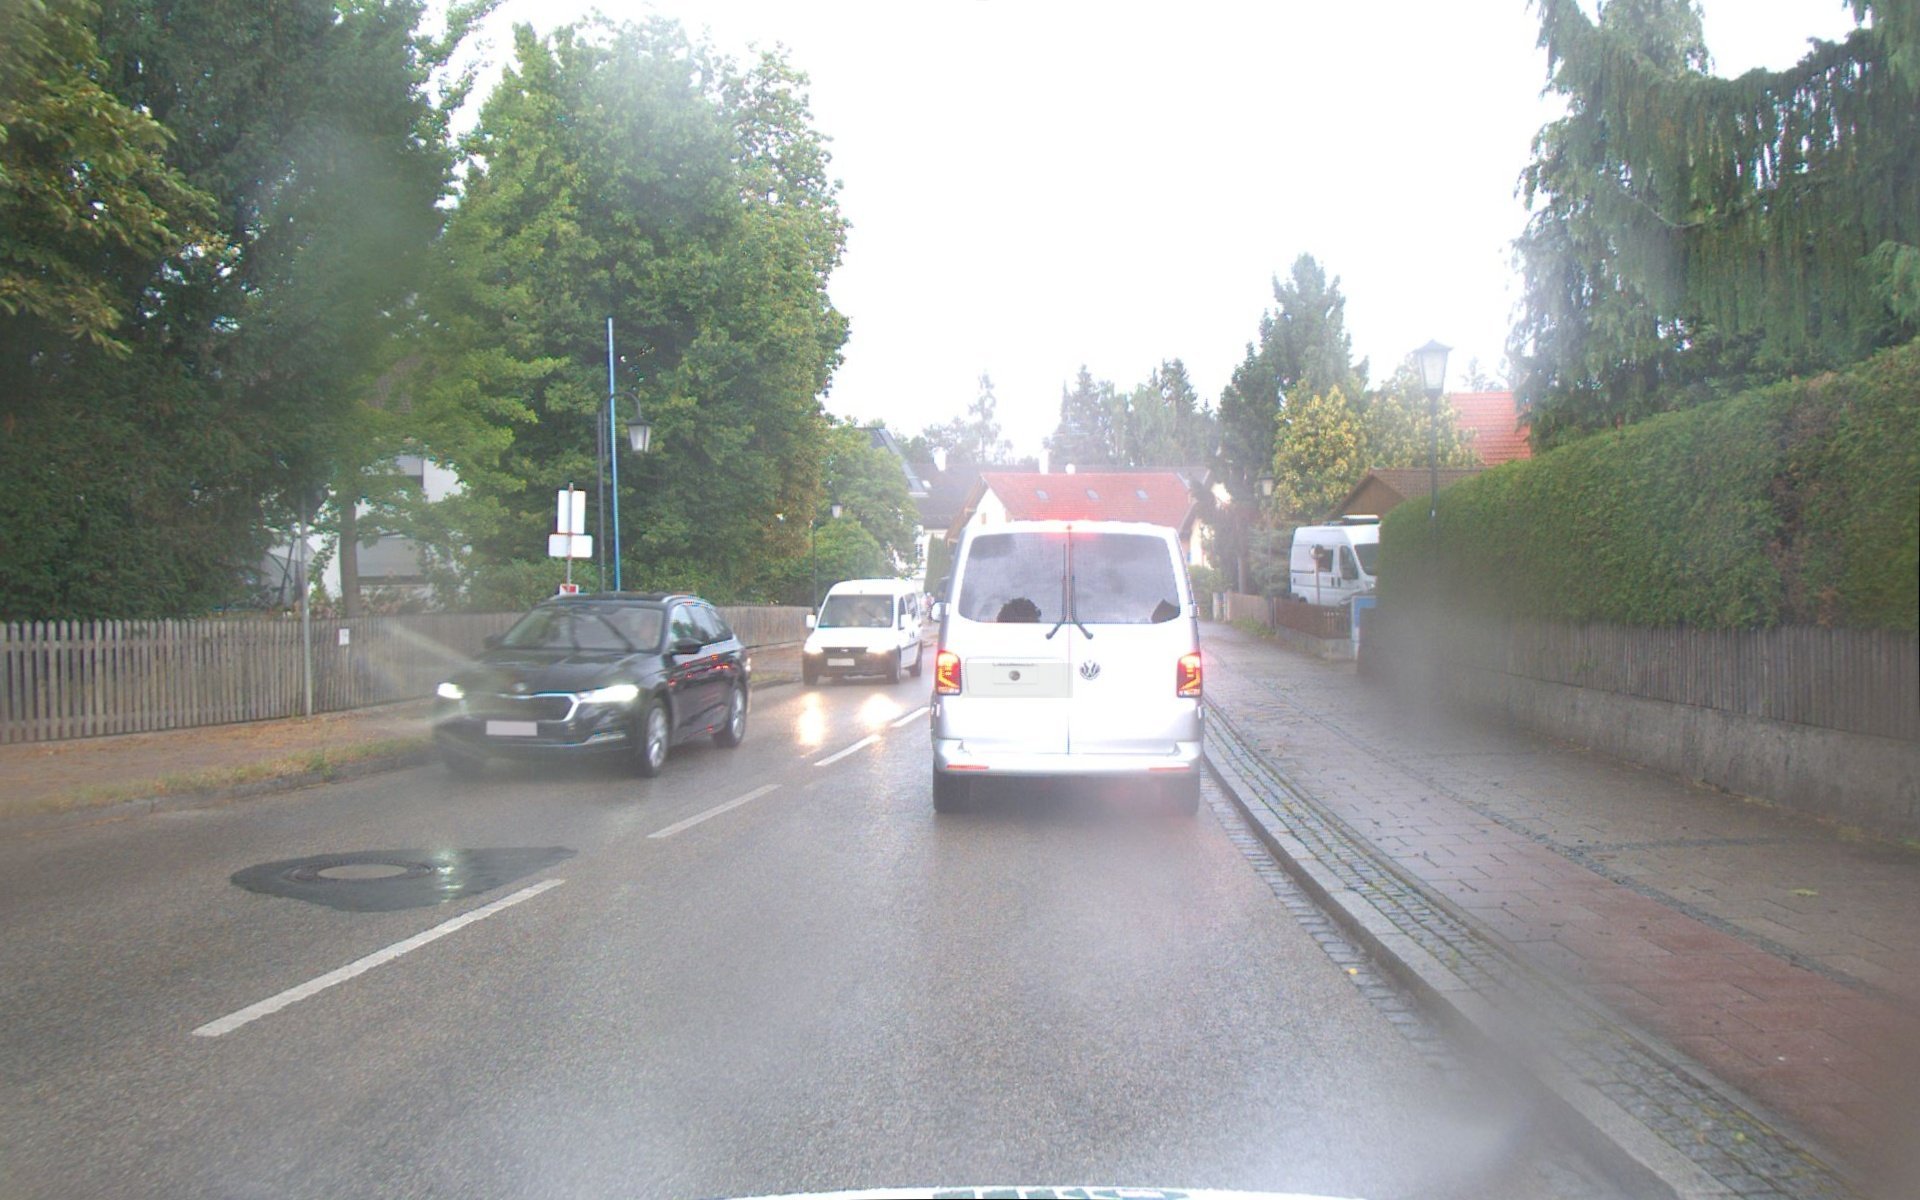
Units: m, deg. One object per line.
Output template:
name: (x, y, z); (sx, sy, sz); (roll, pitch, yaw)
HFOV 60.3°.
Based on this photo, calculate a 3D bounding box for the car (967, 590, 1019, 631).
car: (1.240, 0.402, 61.150); (1.583, 1.470, 3.673); (0, -1, 6)

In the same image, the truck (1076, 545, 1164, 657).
truck: (4.775, 0.061, 49.979); (2.423, 3.128, 6.299); (1, -1, 4)

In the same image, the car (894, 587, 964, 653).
car: (-0.849, 0.567, 47.462); (1.606, 1.796, 4.333); (1, -1, 4)

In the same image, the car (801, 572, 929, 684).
car: (-1.591, 0.478, 29.119); (1.605, 1.796, 4.333); (1, -1, 5)

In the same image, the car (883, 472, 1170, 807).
car: (0.656, 0.254, 12.294); (1.762, 2.049, 4.003); (1, -1, 7)

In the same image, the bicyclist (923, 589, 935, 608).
bicyclist: (-1.650, -0.069, 88.724); (0.575, 1.039, 1.061); (0, 0, 4)

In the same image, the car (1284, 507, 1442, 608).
car: (9.507, -0.933, 39.452); (1.956, 2.211, 4.943); (1, -1, -8)

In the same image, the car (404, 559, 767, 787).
car: (-3.073, 0.527, 14.583); (1.746, 1.692, 4.449); (0, 0, 6)

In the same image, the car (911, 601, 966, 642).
car: (-0.779, 0.798, 62.101); (1.583, 1.470, 3.673); (0, -1, 6)
